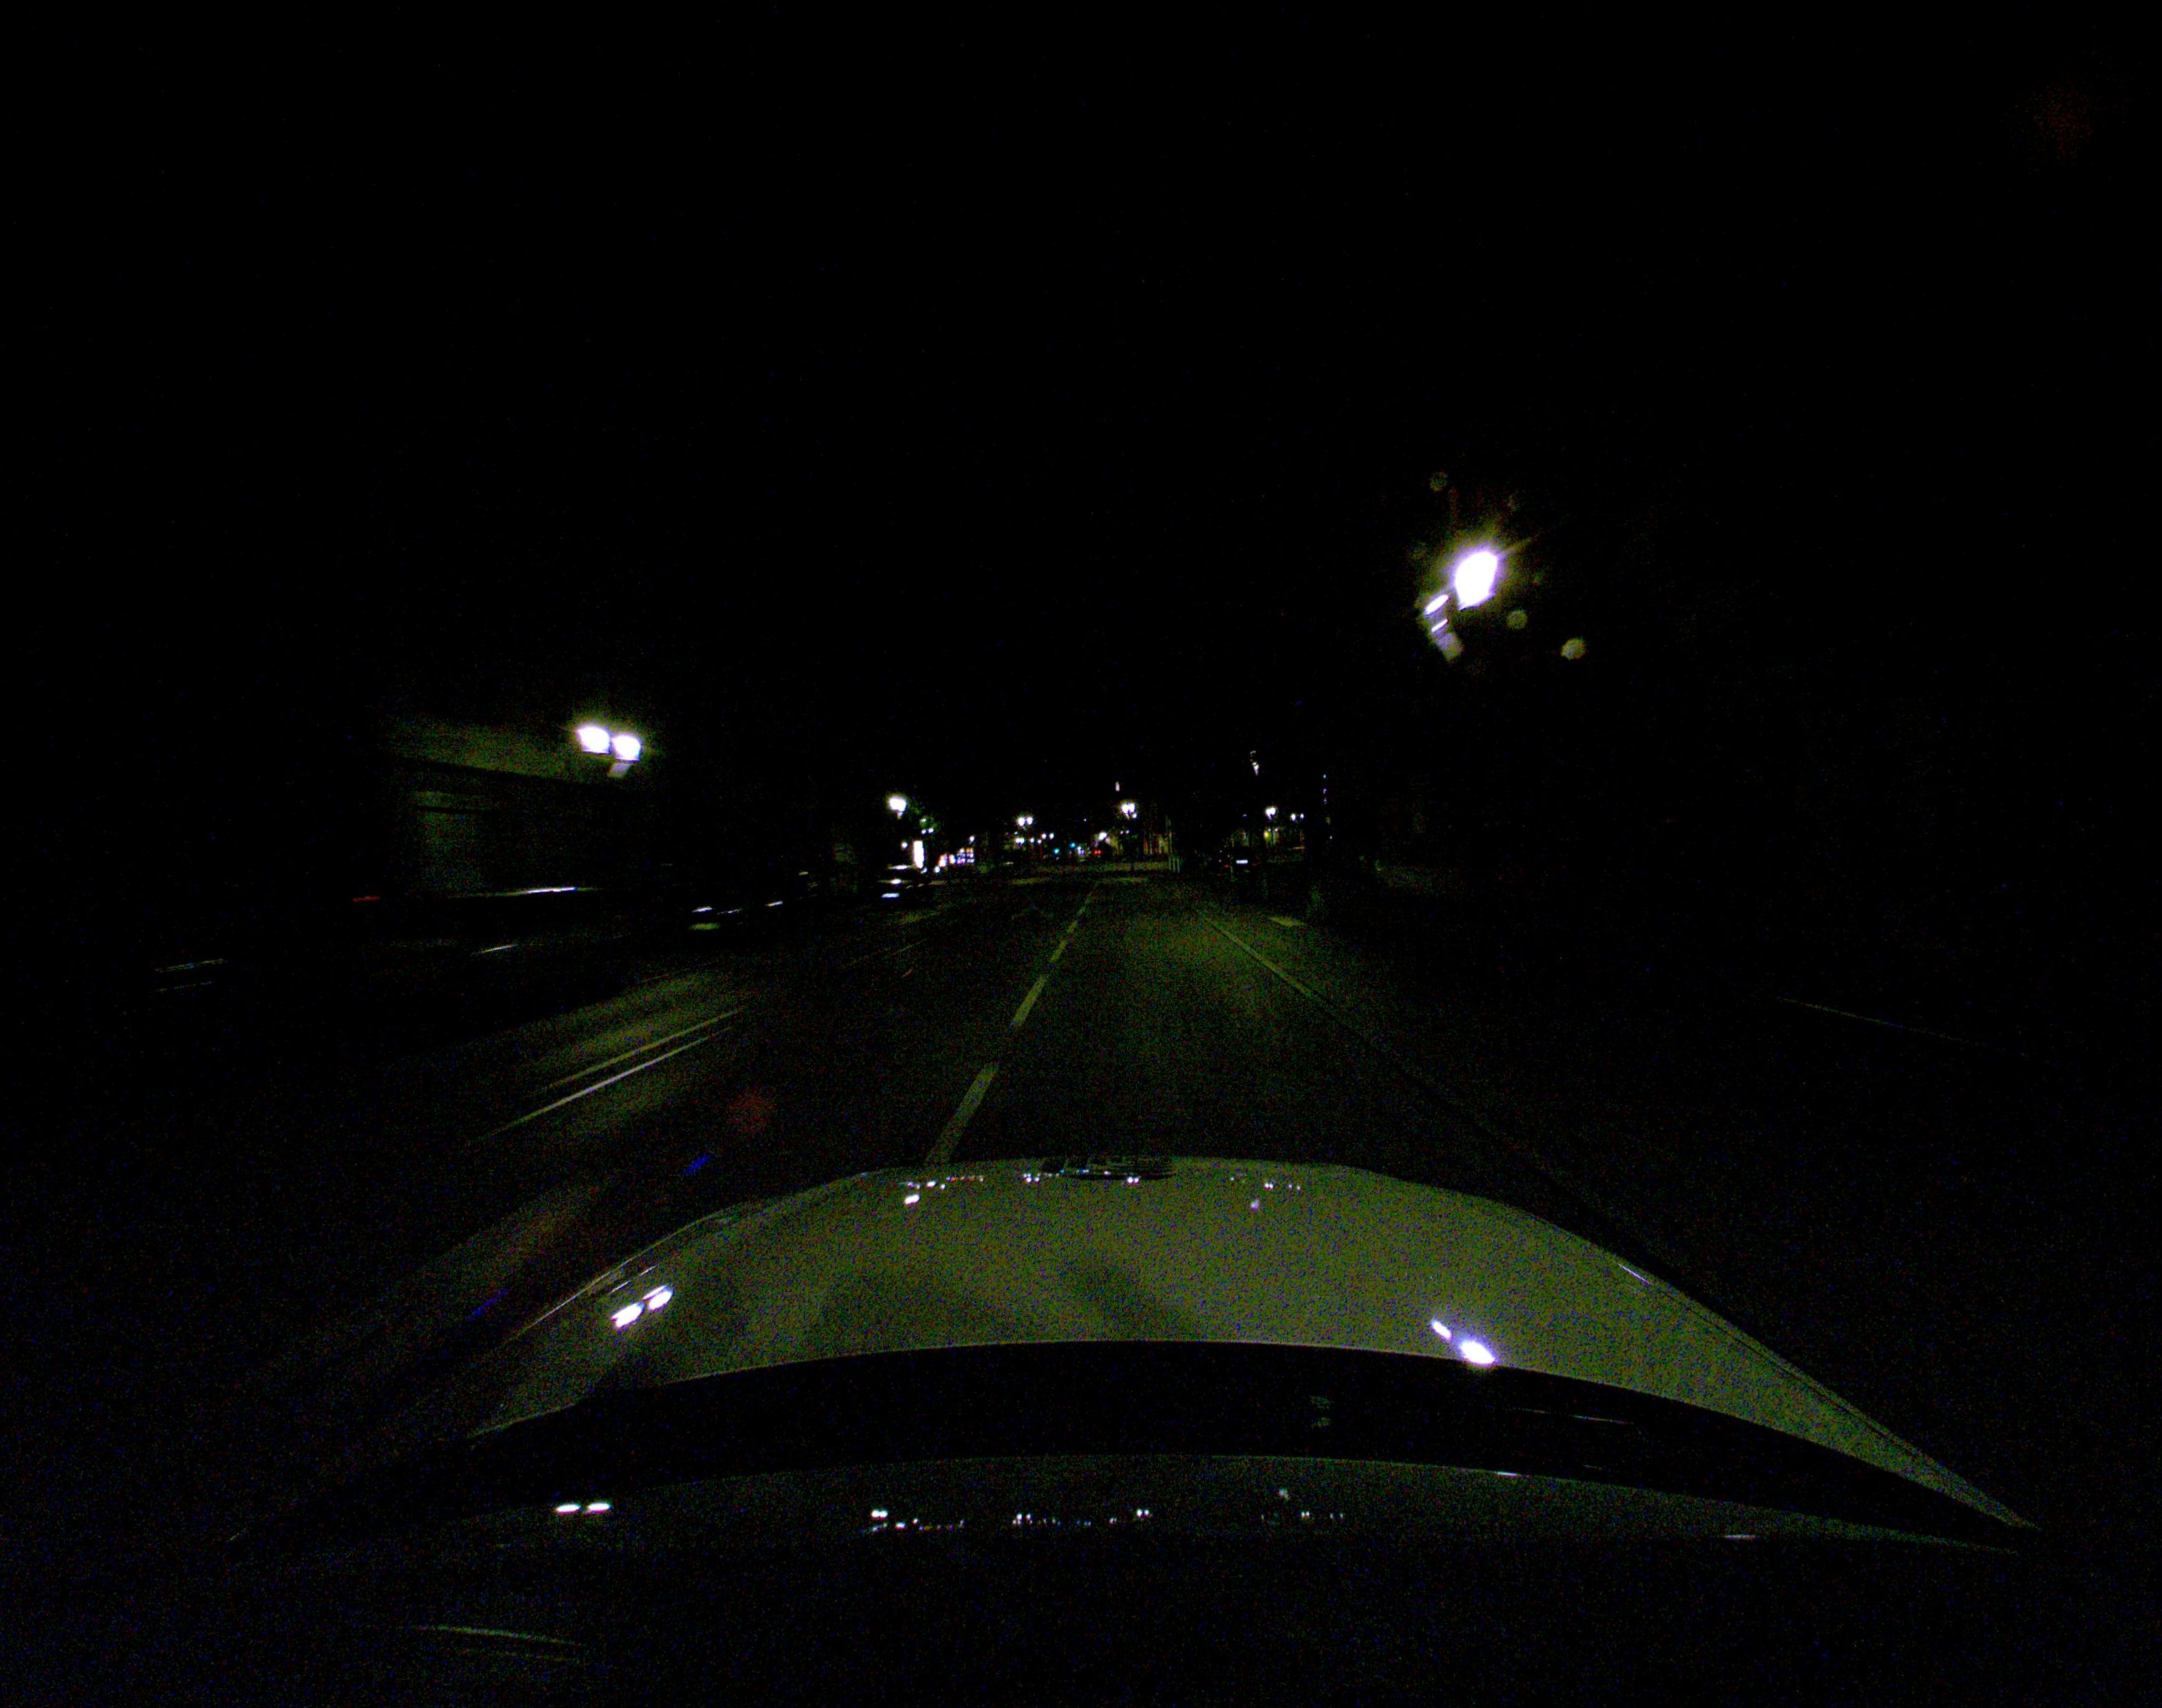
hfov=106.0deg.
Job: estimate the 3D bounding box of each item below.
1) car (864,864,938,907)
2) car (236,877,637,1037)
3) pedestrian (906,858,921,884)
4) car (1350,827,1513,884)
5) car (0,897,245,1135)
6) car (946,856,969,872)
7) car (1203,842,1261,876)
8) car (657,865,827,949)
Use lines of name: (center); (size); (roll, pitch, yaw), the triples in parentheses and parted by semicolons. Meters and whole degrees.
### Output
car: (-6.802, 1.150, 31.164); (1.778, 1.415, 4.127); (-2, 0, 1)
car: (-7.755, 1.120, 10.405); (1.777, 1.491, 4.003); (-1, 0, 3)
pedestrian: (-11.678, 1.173, 56.779); (0.730, 1.822, 0.683); (-1, -2, -44)
car: (11.094, 0.049, 26.059); (4.403, 1.459, 1.793); (-4, 1, 7)
car: (-8.110, 1.141, 4.793); (1.777, 1.491, 4.332); (-1, 0, 2)
car: (-14.003, 1.118, 92.687); (1.988, 1.574, 4.325); (-3, 0, -2)
car: (7.256, 0.221, 39.589); (1.729, 1.459, 4.724); (-3, 0, -2)
car: (-7.519, 1.099, 18.613); (1.777, 1.582, 4.416); (-1, 0, 4)
